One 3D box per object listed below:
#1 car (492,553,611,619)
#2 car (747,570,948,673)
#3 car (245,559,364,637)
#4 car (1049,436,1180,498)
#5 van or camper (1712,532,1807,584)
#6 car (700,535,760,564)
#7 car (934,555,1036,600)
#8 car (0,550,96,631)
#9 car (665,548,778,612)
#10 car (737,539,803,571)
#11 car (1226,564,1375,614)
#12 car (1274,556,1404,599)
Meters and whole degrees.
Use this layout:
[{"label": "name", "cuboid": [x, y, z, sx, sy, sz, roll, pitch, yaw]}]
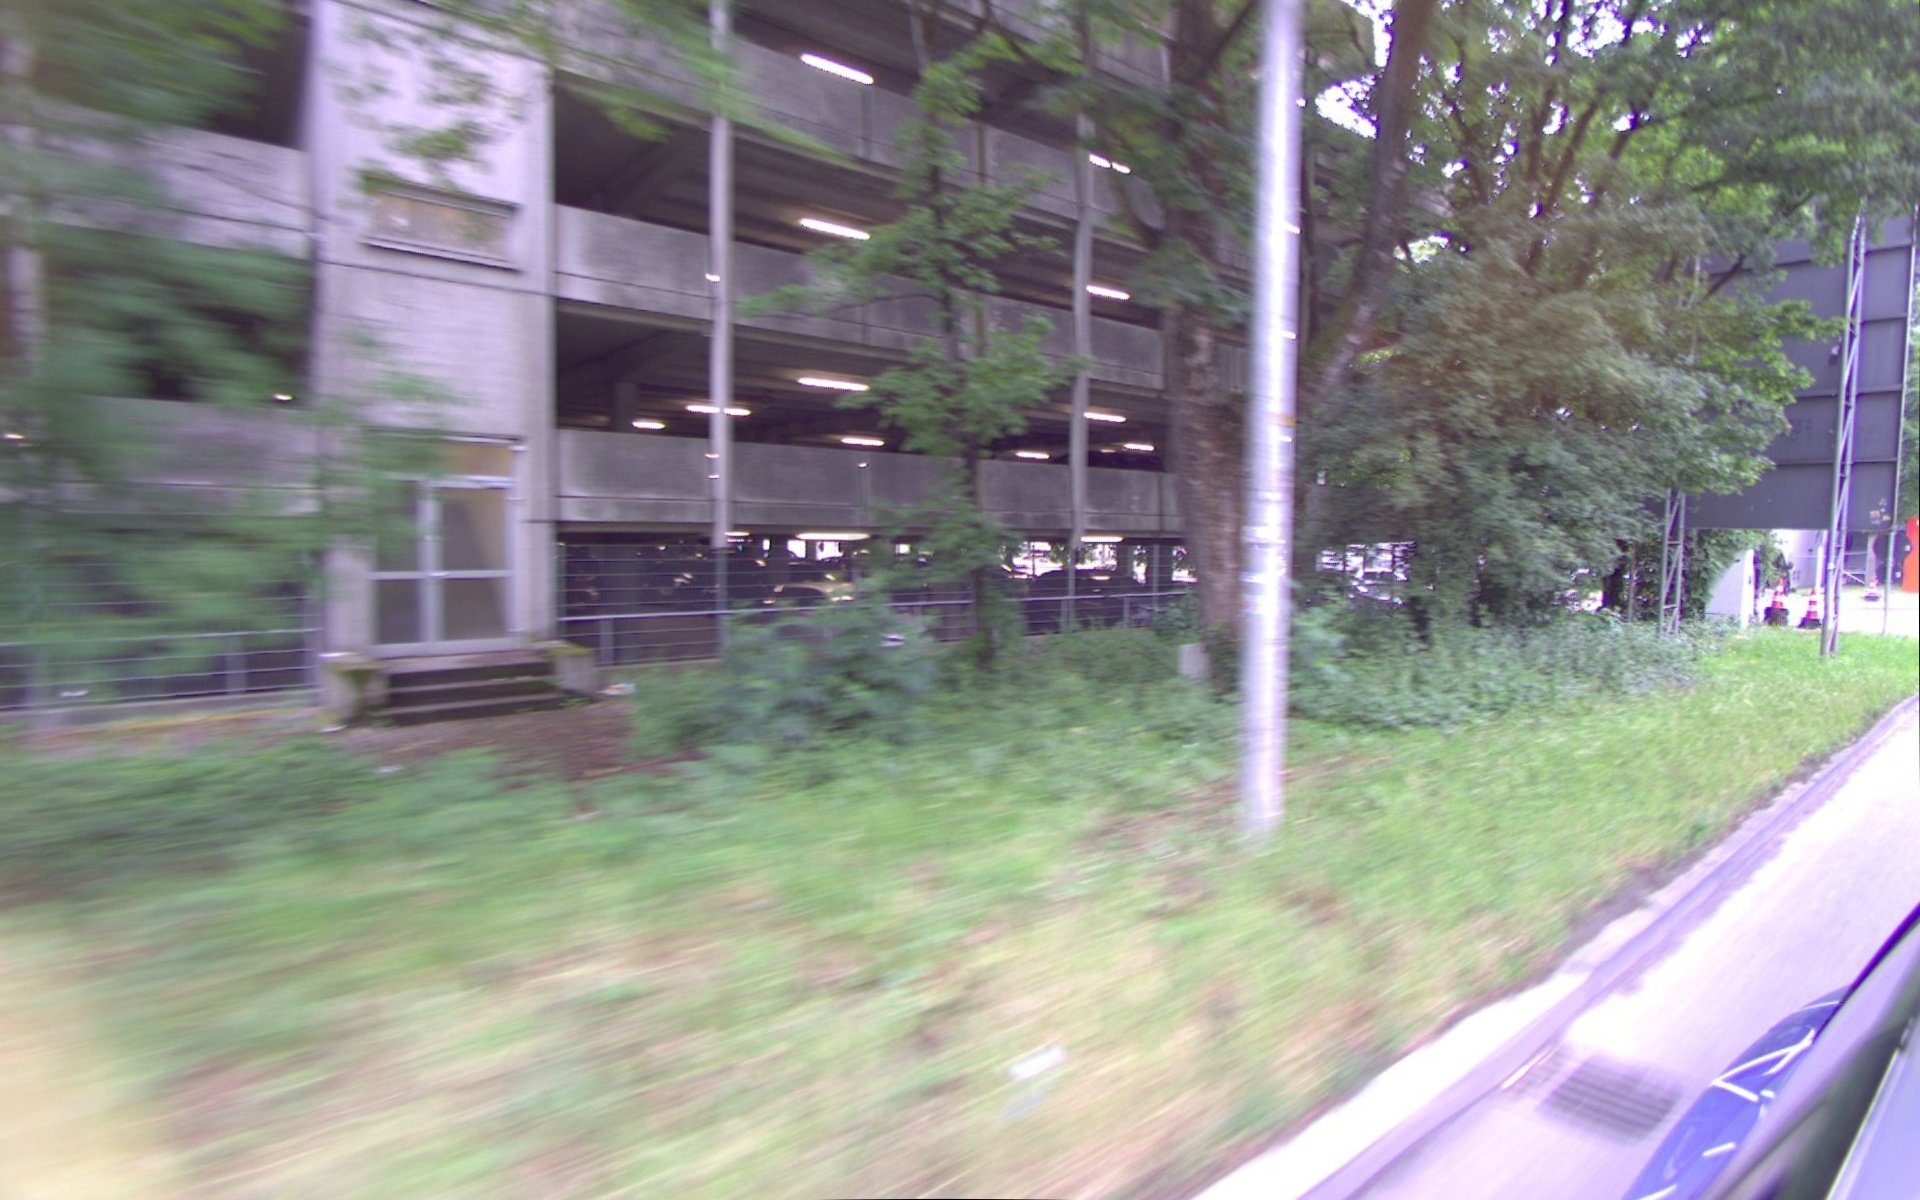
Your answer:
[{"label": "car", "cuboid": [-10.868, -0.438, 26.783, 1.794, 1.506, 4.069, -2, 4, -40]}, {"label": "car", "cuboid": [-2.249, 0.295, 19.197, 1.680, 1.472, 4.455, -4, 6, -38]}, {"label": "car", "cuboid": [-14.937, -0.127, 22.971, 1.794, 1.469, 4.069, -2, 5, -40]}, {"label": "car", "cuboid": [3.557, -3.046, 23.549, 1.332, 1.261, 2.896, -4, 6, -38]}, {"label": "van or camper", "cuboid": [36.035, -1.860, 45.572, 5.542, 2.136, 2.169, 0, 3, -39]}, {"label": "car", "cuboid": [-11.791, -2.614, 51.719, 1.495, 1.342, 3.774, -2, 5, -38]}, {"label": "car", "cuboid": [0.835, -0.823, 35.367, 1.495, 1.380, 3.774, -2, 5, -38]}, {"label": "car", "cuboid": [-21.010, -0.290, 23.210, 1.758, 1.562, 3.701, -3, 6, -40]}, {"label": "car", "cuboid": [-6.794, -0.618, 28.618, 1.681, 1.543, 3.725, -4, 6, -38]}, {"label": "car", "cuboid": [-9.059, -2.170, 48.105, 1.495, 1.380, 3.774, -2, 5, -38]}, {"label": "car", "cuboid": [9.374, -0.358, 28.088, 1.592, 1.176, 3.640, -2, 4, -37]}, {"label": "car", "cuboid": [11.050, -0.694, 29.633, 1.511, 1.100, 3.253, -2, 4, -39]}]
